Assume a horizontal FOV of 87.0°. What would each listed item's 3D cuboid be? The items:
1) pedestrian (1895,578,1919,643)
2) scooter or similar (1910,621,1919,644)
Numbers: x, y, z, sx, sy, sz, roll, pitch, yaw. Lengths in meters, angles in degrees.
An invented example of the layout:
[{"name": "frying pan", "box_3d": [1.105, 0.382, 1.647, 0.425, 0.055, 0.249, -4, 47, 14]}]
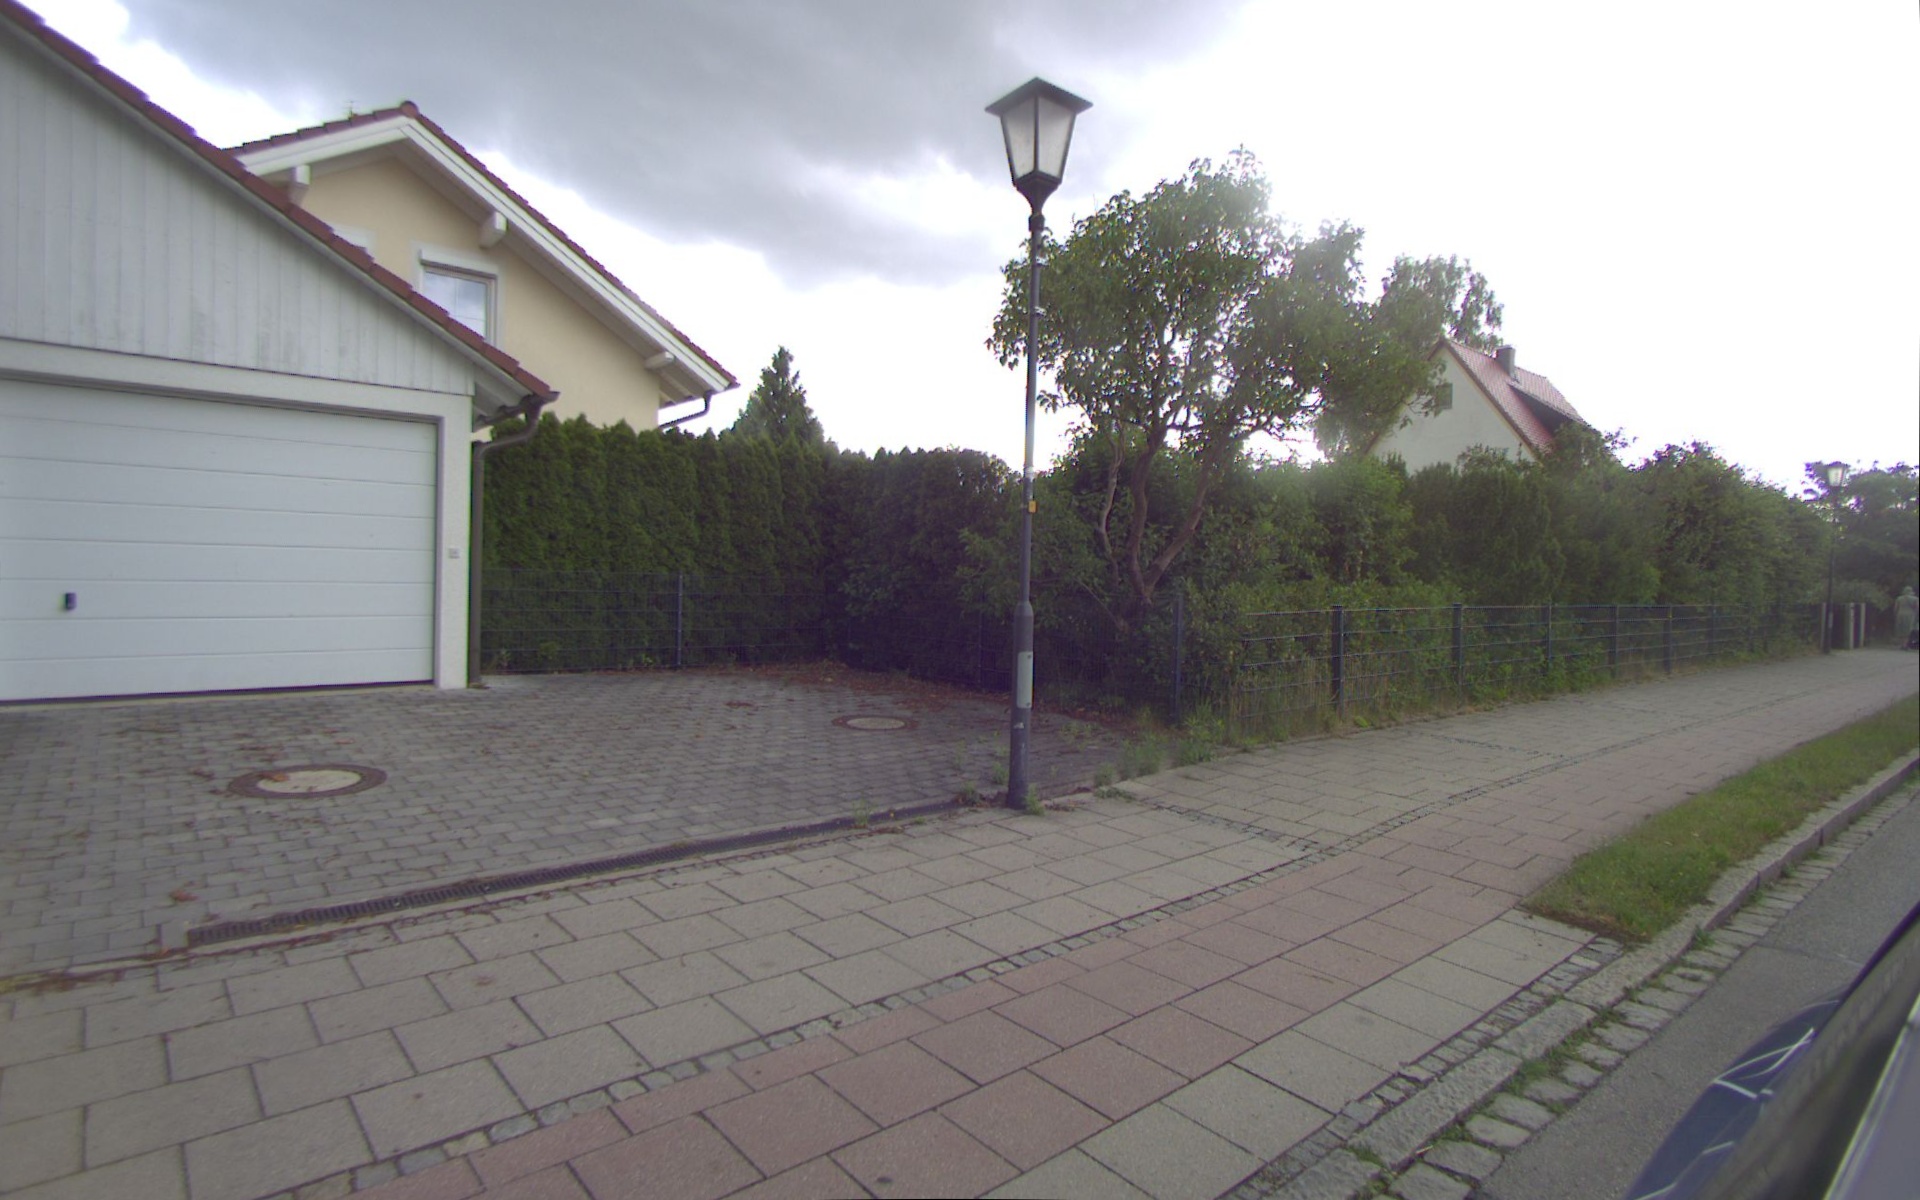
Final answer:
[{"name": "pedestrian", "box_3d": [24.467, 0.272, 25.831, 0.660, 1.622, 0.791, 0, 2, -43]}, {"name": "scooter or similar", "box_3d": [24.106, 0.817, 25.214, 0.730, 0.563, 0.617, 1, 0, -44]}]
